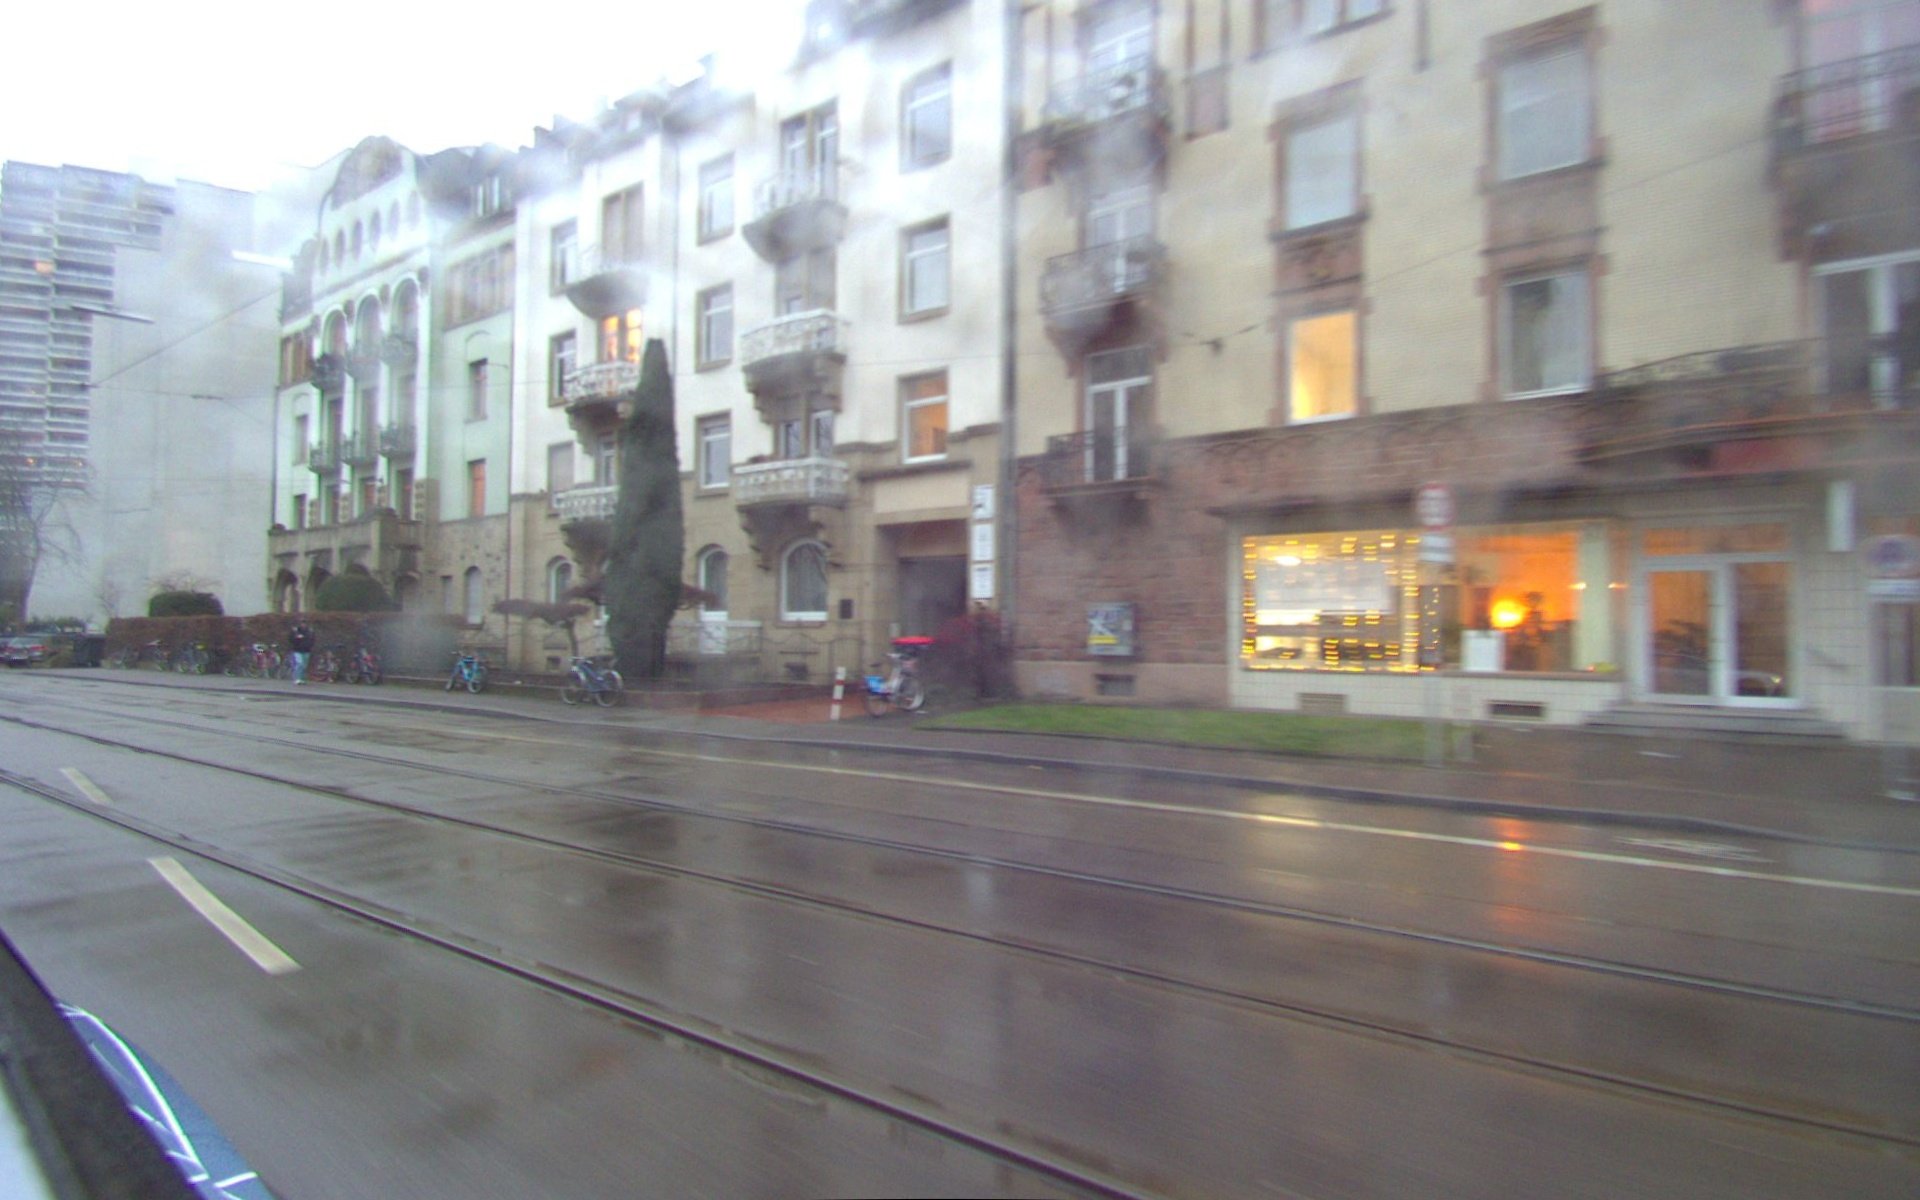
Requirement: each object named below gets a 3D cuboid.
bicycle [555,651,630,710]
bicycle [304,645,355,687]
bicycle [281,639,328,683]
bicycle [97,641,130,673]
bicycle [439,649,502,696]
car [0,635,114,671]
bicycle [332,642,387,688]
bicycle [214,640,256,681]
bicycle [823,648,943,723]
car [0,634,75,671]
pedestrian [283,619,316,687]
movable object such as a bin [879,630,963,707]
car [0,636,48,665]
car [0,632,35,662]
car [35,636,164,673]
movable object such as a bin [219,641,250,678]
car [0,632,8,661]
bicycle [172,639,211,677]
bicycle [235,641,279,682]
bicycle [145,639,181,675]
[{"bbox_3d":[-7.256,1.568,19.968,1.660,1.101,0.617,-2,-3,39],"label":"bicycle"},{"bbox_3d":[-17.099,1.771,27.446,1.725,1.074,0.617,-2,-3,39],"label":"bicycle"},{"bbox_3d":[-18.499,1.701,28.555,1.660,1.221,0.617,-2,-3,39],"label":"bicycle"},{"bbox_3d":[-31.829,2.141,38.038,1.660,1.173,0.617,-2,-2,39],"label":"bicycle"},{"bbox_3d":[-11.111,1.636,22.964,1.660,1.011,0.617,-2,-3,39],"label":"bicycle"},{"bbox_3d":[-39.159,2.263,43.830,1.739,1.497,4.000,0,-2,-1],"label":"car"},{"bbox_3d":[-15.567,1.667,26.216,1.781,1.135,0.617,-2,-3,39],"label":"bicycle"},{"bbox_3d":[-22.378,1.851,31.219,1.660,1.221,0.617,-2,-3,39],"label":"bicycle"},{"bbox_3d":[-1.297,1.443,17.569,0.694,1.114,2.327,-2,-1,38],"label":"bicycle"},{"bbox_3d":[-42.055,2.303,45.056,1.842,1.608,4.000,0,-2,-1],"label":"car"},{"bbox_3d":[-17.344,1.378,26.580,0.644,1.738,0.567,0,-1,40],"label":"pedestrian"},{"bbox_3d":[-0.755,1.298,19.663,1.166,1.390,1.092,-2,0,38],"label":"movable object such as a bin"},{"bbox_3d":[-49.592,2.564,52.004,1.842,1.460,4.000,0,-2,-1],"label":"car"},{"bbox_3d":[-52.602,2.528,54.560,1.842,1.608,4.000,0,-2,-1],"label":"car"},{"bbox_3d":[-36.500,2.289,43.061,1.847,1.505,3.990,0,-2,8],"label":"car"},{"bbox_3d":[-23.837,1.948,33.244,0.674,1.173,0.651,-2,-3,39],"label":"movable object such as a bin"},{"bbox_3d":[-55.088,2.557,55.570,1.842,1.608,4.000,0,-2,-1],"label":"car"},{"bbox_3d":[-25.662,1.919,33.774,1.660,1.221,0.617,-2,-3,39],"label":"bicycle"},{"bbox_3d":[-20.843,1.807,29.999,1.660,1.173,0.617,-2,-3,39],"label":"bicycle"},{"bbox_3d":[-27.691,1.955,35.153,1.660,1.221,0.617,-2,-3,39],"label":"bicycle"}]
